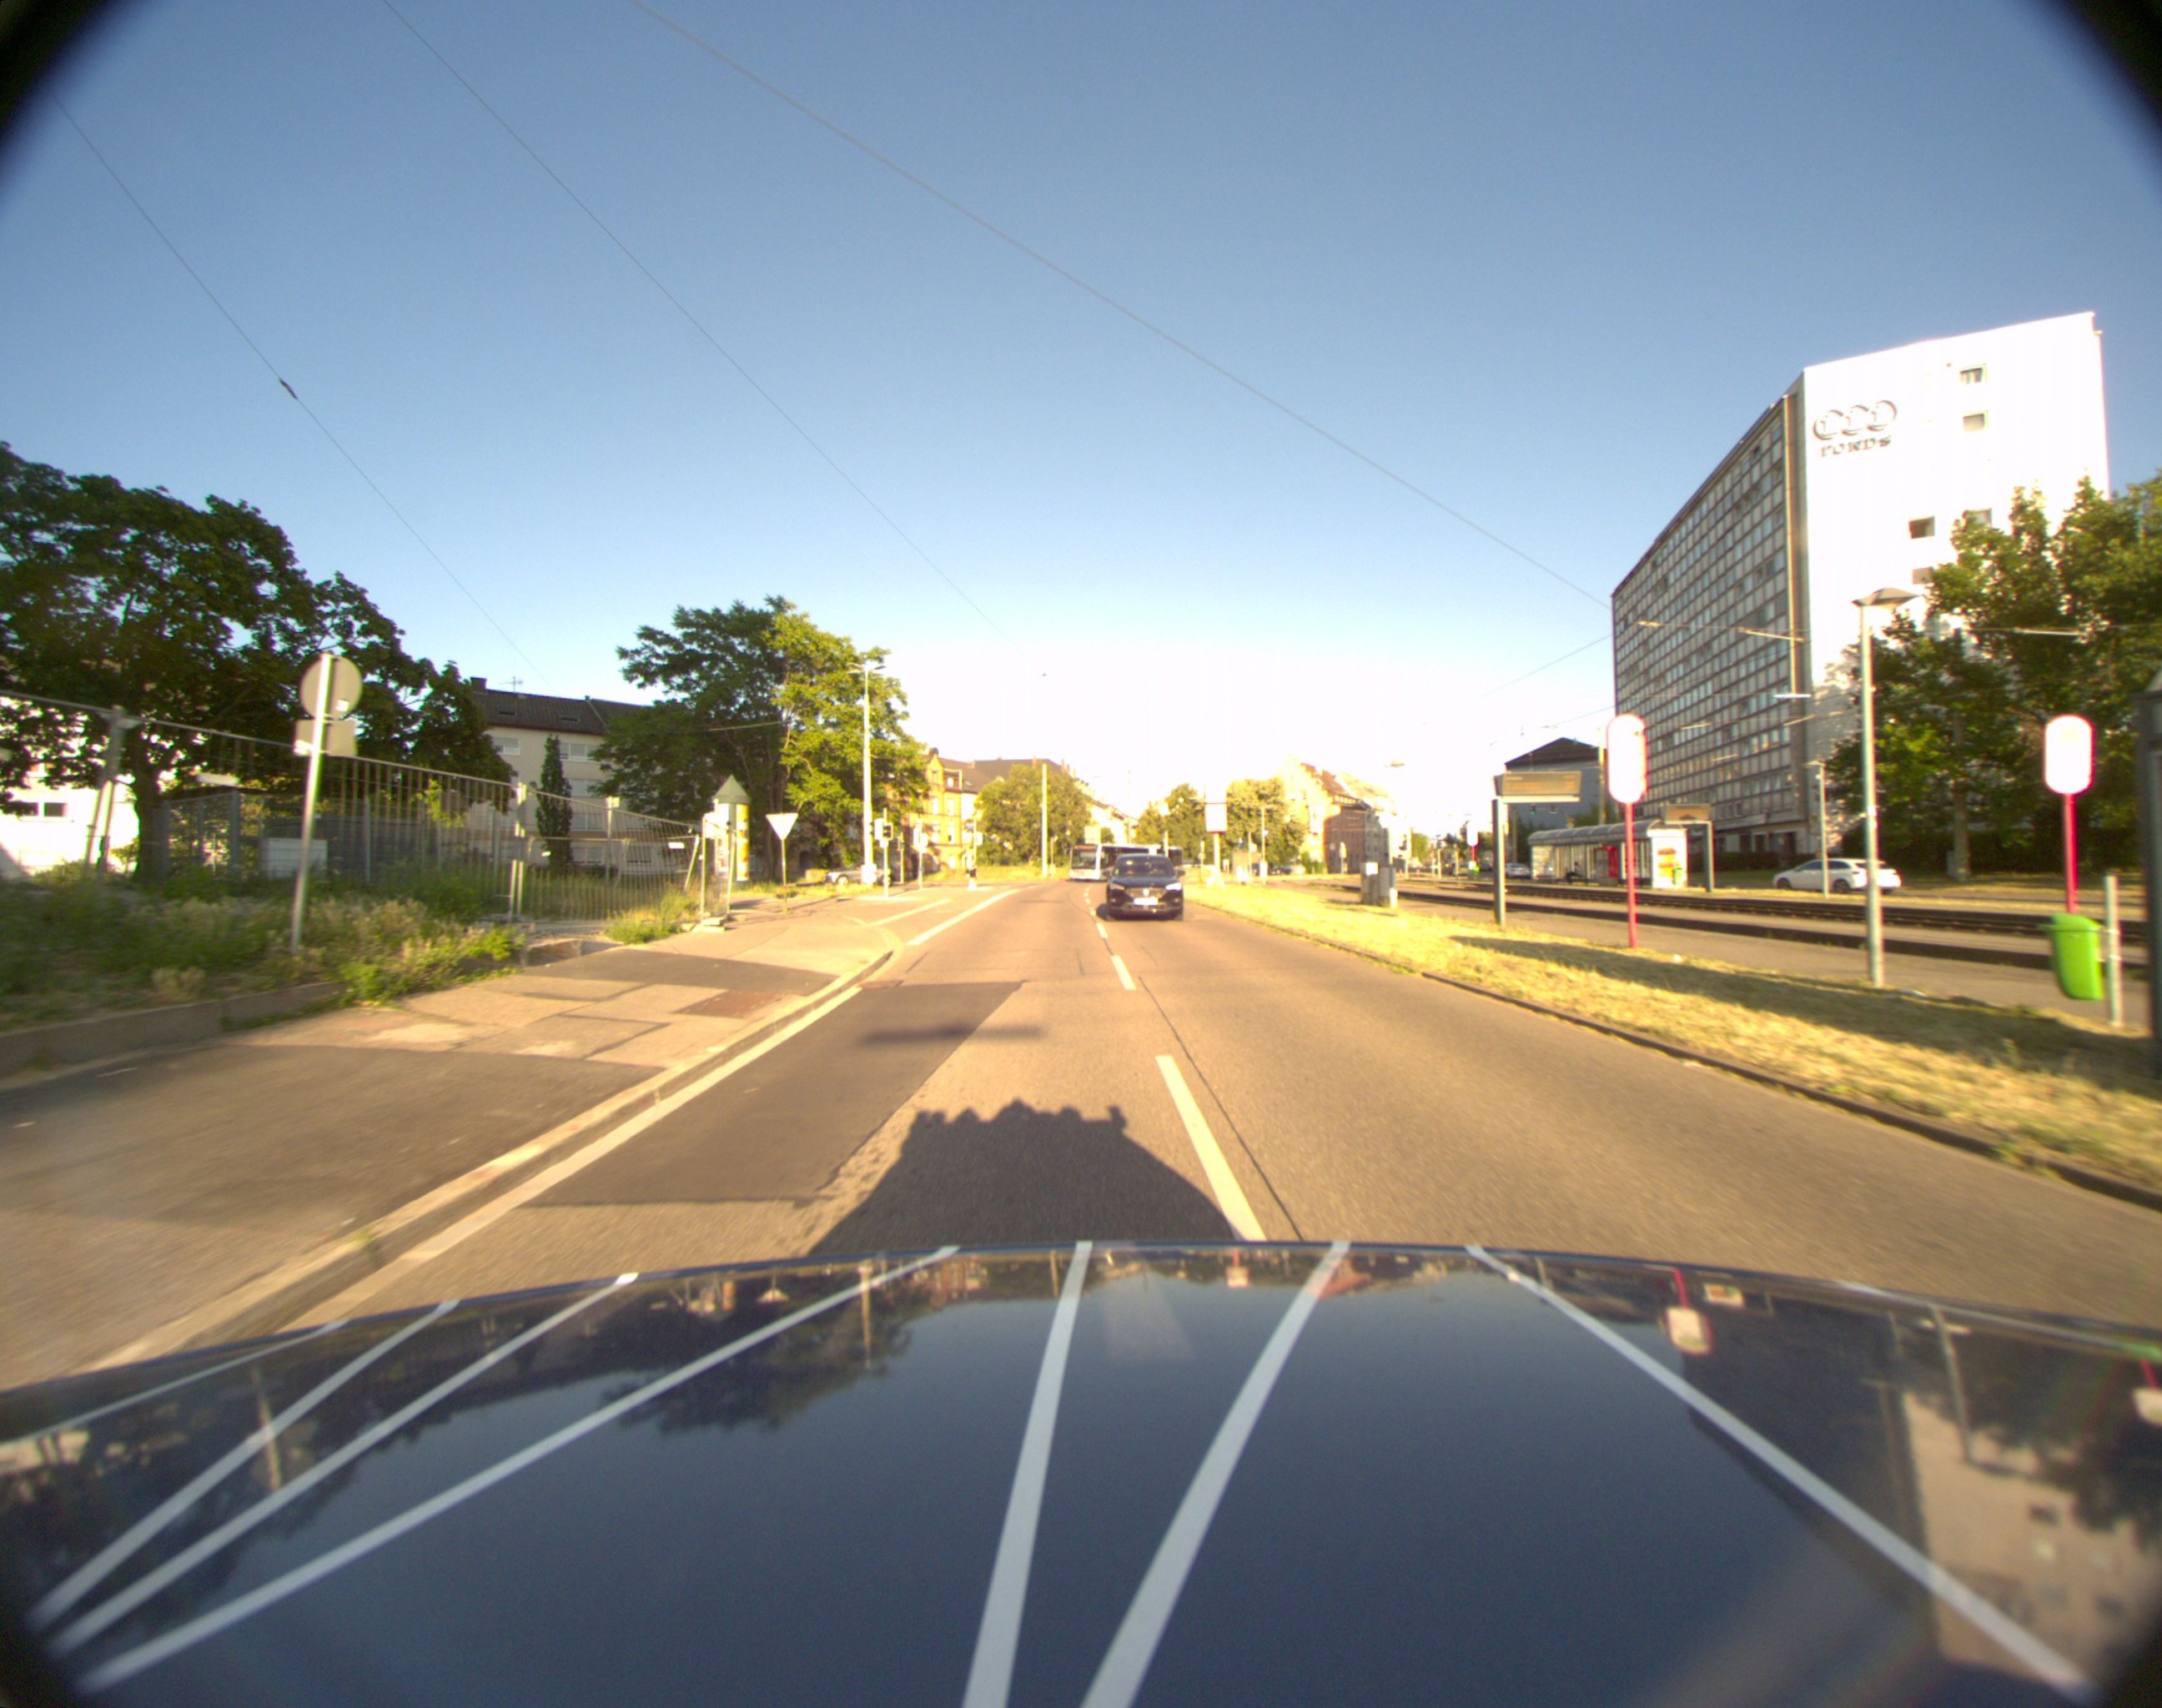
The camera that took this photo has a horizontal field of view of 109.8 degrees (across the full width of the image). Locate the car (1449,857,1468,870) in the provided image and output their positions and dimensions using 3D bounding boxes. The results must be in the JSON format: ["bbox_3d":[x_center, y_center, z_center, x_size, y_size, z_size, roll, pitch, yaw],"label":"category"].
[{"bbox_3d":[45.118,1.167,90.785,1.878,1.465,4.137,-1,-1,27],"label":"car"}]

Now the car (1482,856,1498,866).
[{"bbox_3d":[63.841,1.094,118.512,1.878,1.465,4.138,-1,-1,32],"label":"car"}]

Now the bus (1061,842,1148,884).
[{"bbox_3d":[2.046,0.643,59.125,2.607,3.007,9.596,-1,0,29],"label":"bus"}]

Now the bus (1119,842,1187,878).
[{"bbox_3d":[6.523,0.502,67.203,2.607,3.007,8.875,-1,0,29],"label":"bus"}]

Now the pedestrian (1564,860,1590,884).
[{"bbox_3d":[26.704,0.974,40.894,0.954,1.260,0.662,-1,1,-3],"label":"pedestrian"}]

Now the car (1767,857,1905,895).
[{"bbox_3d":[33.054,0.927,33.469,1.740,1.539,4.437,-1,-1,2],"label":"car"}]

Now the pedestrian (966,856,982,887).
[{"bbox_3d":[-5.509,0.907,39.062,0.592,1.586,0.547,0,1,35],"label":"pedestrian"}]

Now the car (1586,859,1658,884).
[{"bbox_3d":[34.183,1.103,48.156,1.740,1.465,4.130,-1,-1,2],"label":"car"}]

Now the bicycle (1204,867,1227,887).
[{"bbox_3d":[6.820,1.159,38.527,0.606,0.988,1.750,0,0,30],"label":"bicycle"}]

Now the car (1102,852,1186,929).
[{"bbox_3d":[1.515,0.828,19.666,1.818,1.670,4.623,-1,1,1],"label":"car"}]

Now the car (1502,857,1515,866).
[{"bbox_3d":[78.307,1.334,139.126,1.878,1.677,4.138,-1,-1,32],"label":"car"}]

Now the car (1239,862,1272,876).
[{"bbox_3d":[19.598,1.704,85.228,3.987,1.465,1.737,0,-1,-43],"label":"car"}]

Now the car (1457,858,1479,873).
[{"bbox_3d":[39.604,1.120,77.845,1.738,1.465,4.136,-1,-1,23],"label":"car"}]

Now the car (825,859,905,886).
[{"bbox_3d":[-13.031,1.091,45.908,4.339,1.539,1.815,-1,0,-29],"label":"car"}]

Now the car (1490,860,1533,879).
[{"bbox_3d":[35.522,1.247,62.840,1.739,1.465,4.133,-1,-1,9],"label":"car"}]

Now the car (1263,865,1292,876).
[{"bbox_3d":[25.364,2.125,97.958,3.987,1.405,1.737,0,-1,-43],"label":"car"}]
